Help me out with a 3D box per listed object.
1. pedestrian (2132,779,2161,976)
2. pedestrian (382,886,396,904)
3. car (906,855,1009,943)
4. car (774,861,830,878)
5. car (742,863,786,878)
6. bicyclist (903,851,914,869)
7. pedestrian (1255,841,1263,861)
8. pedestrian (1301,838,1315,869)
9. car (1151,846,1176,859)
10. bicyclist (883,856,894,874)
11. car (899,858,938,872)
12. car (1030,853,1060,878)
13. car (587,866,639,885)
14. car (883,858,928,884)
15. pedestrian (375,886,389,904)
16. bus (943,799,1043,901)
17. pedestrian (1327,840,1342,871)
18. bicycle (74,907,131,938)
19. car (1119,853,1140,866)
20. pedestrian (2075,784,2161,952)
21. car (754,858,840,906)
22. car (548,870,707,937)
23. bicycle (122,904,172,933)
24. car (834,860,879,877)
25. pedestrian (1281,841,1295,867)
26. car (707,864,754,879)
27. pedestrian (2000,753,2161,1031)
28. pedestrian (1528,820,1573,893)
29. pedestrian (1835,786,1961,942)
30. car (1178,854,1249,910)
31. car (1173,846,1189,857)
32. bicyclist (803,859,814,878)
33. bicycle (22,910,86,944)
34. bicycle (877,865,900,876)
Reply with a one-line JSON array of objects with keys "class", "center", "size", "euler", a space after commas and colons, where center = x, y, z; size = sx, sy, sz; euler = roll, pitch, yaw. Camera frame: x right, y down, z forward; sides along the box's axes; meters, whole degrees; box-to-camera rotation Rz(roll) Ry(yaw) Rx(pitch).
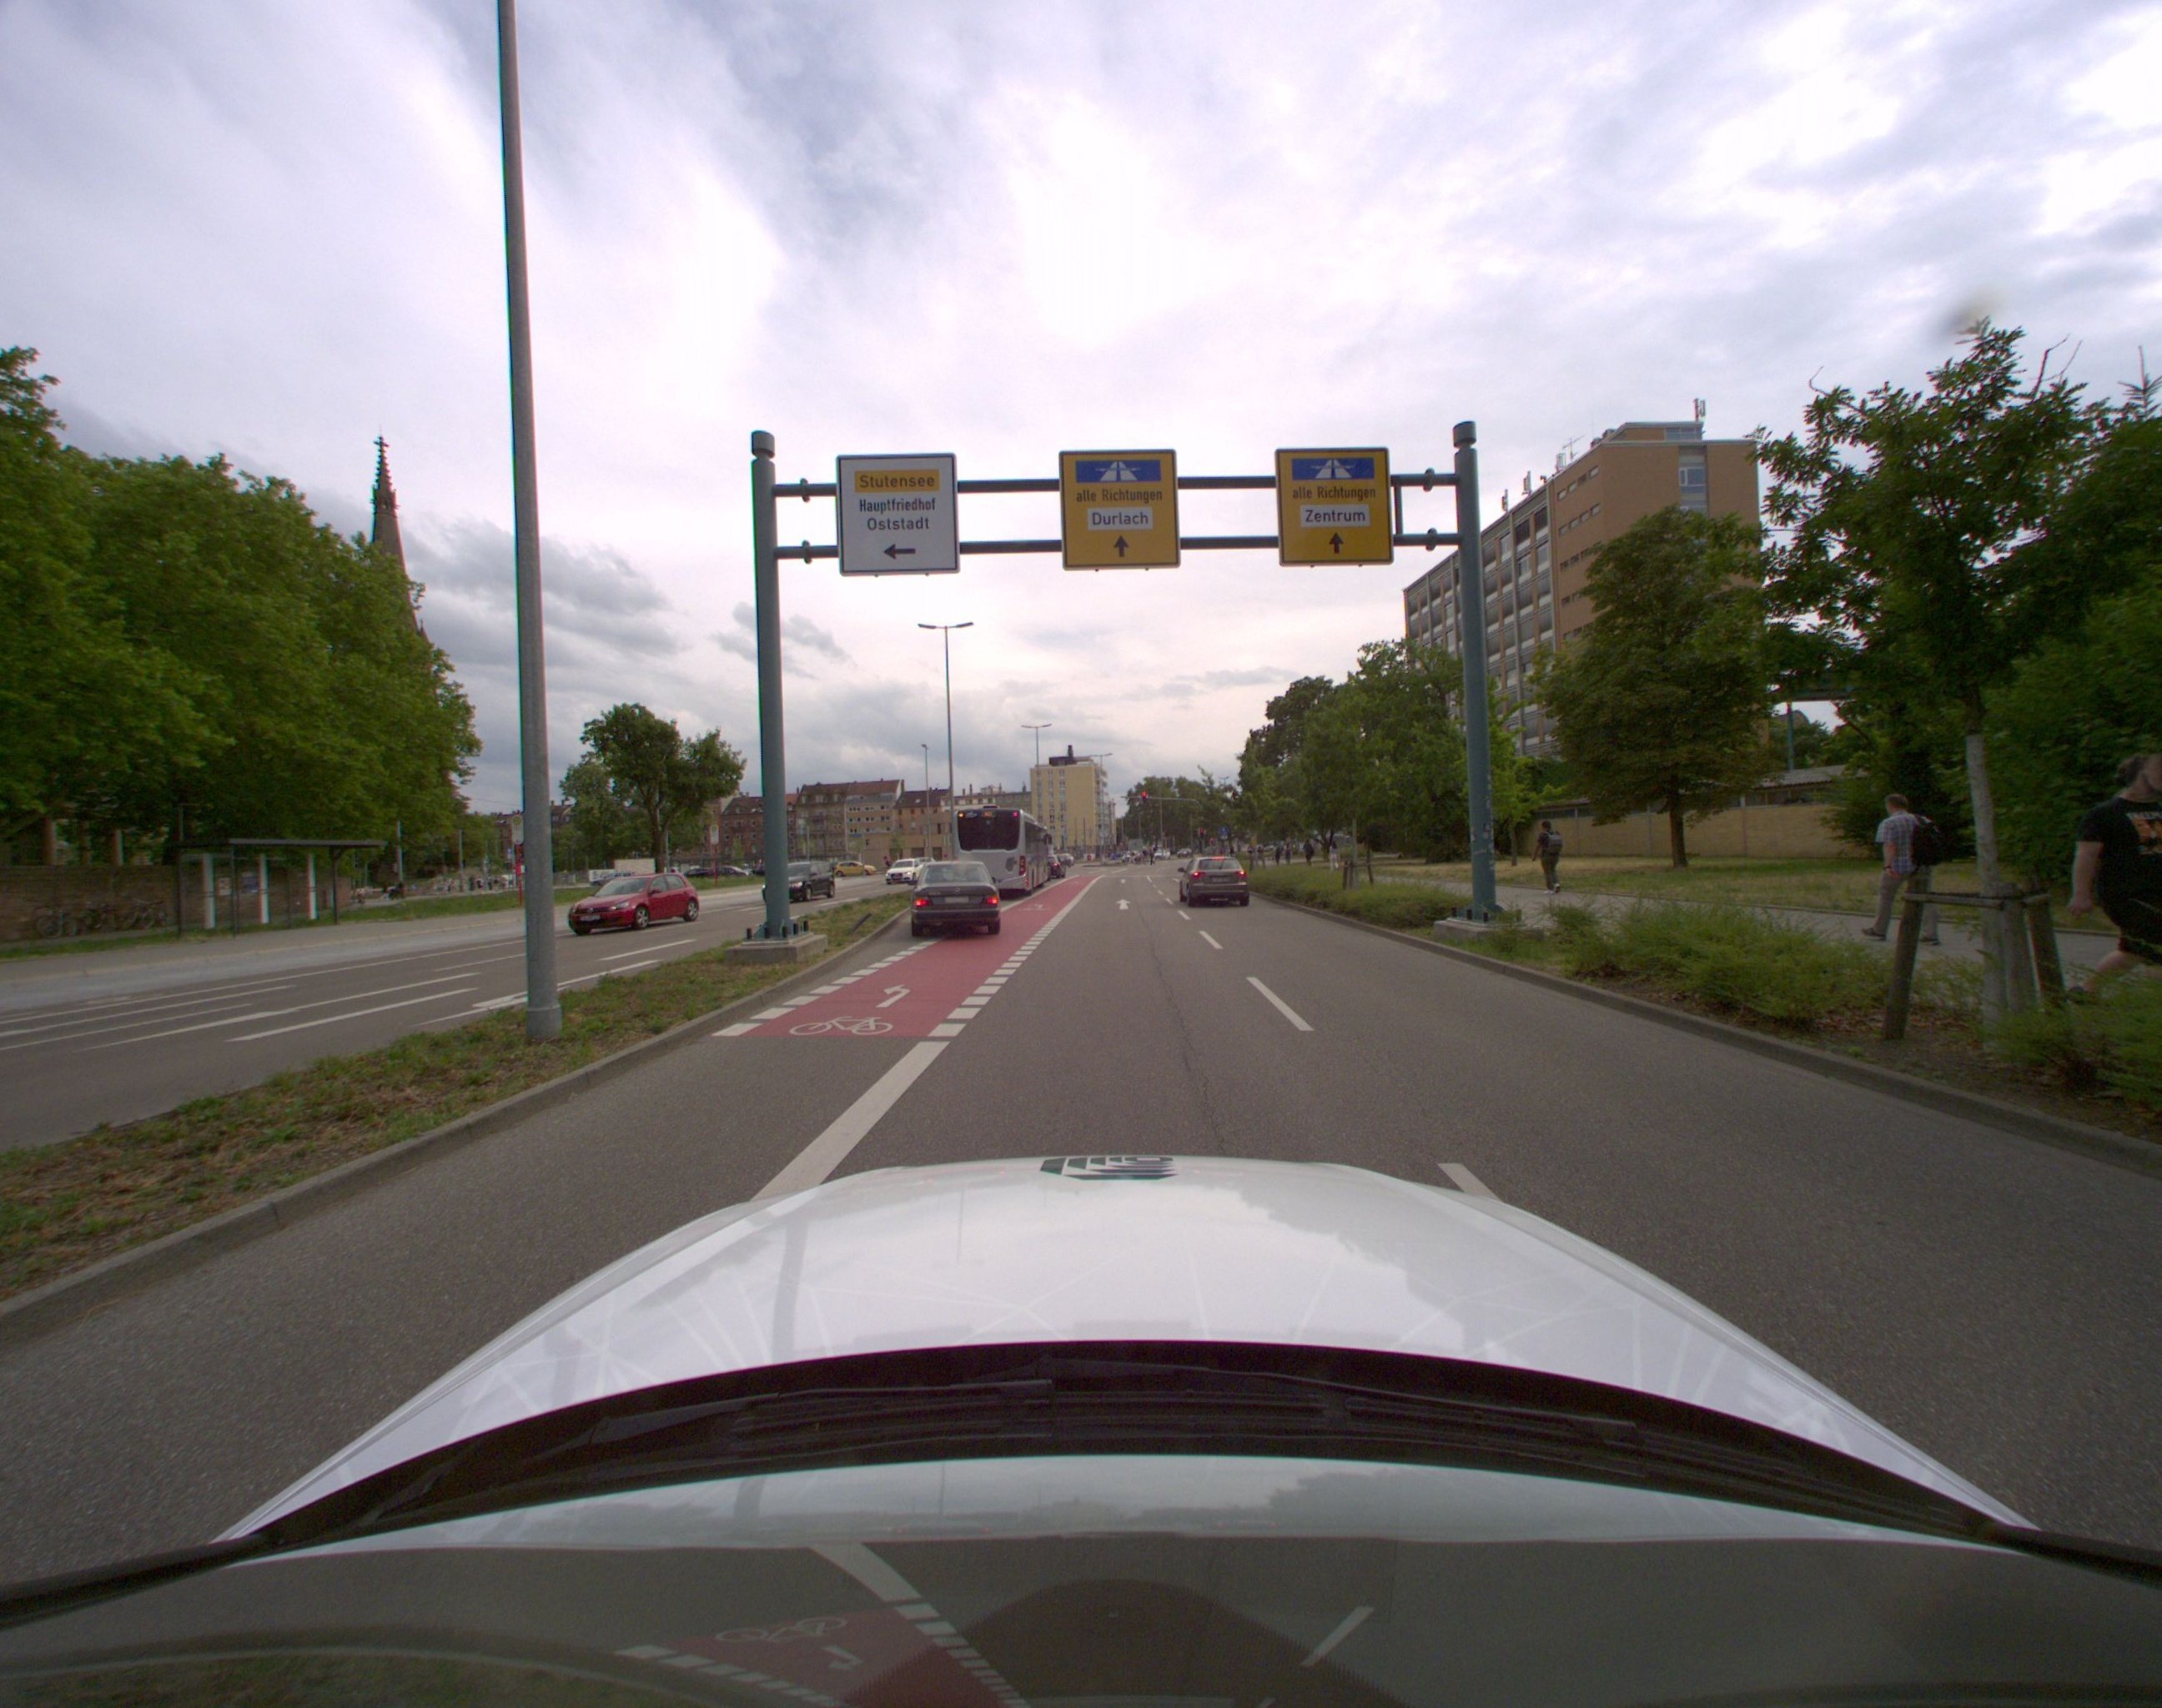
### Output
[{"class": "pedestrian", "center": [9.288, 0.188, 6.580], "size": [0.553, 1.655, 0.754], "euler": [-3, 0, 3]}, {"class": "pedestrian", "center": [-61.302, 3.648, 72.138], "size": [0.560, 1.560, 0.725], "euler": [-2, 0, -4]}, {"class": "car", "center": [-2.636, 0.796, 16.655], "size": [1.763, 1.489, 4.153], "euler": [-2, 0, -13]}, {"class": "car", "center": [-26.601, 1.482, 77.733], "size": [4.658, 1.475, 1.659], "euler": [-1, 0, -3]}, {"class": "car", "center": [-31.836, 1.669, 81.930], "size": [3.754, 1.394, 1.583], "euler": [-1, 0, -3]}, {"class": "bicyclist", "center": [-15.952, 0.528, 75.446], "size": [0.784, 1.643, 0.614], "euler": [-3, 0, -1]}, {"class": "pedestrian", "center": [18.278, -0.313, 83.487], "size": [0.612, 2.013, 0.597], "euler": [-2, 0, 1]}, {"class": "pedestrian", "center": [12.840, -0.010, 46.094], "size": [0.641, 1.713, 0.564], "euler": [-3, 0, 17]}, {"class": "car", "center": [14.673, -0.278, 144.656], "size": [2.559, 2.109, 5.634], "euler": [-2, 0, 26]}, {"class": "bicyclist", "center": [-17.917, 1.047, 75.715], "size": [0.784, 1.643, 0.572], "euler": [-3, 0, 0]}, {"class": "car", "center": [-16.817, 1.139, 84.412], "size": [3.690, 1.394, 1.571], "euler": [-1, 0, -25]}, {"class": "car", "center": [-2.231, 0.703, 50.783], "size": [1.650, 1.396, 3.859], "euler": [-2, 0, 0]}, {"class": "car", "center": [-47.166, 2.170, 82.177], "size": [4.146, 1.649, 1.645], "euler": [-3, 0, -4]}, {"class": "car", "center": [-10.731, 0.995, 49.966], "size": [1.664, 1.389, 3.925], "euler": [-3, 0, 3]}, {"class": "pedestrian", "center": [-62.274, 3.668, 72.526], "size": [0.560, 1.560, 0.725], "euler": [-2, 0, -4]}, {"class": "bus", "center": [-3.183, -0.180, 31.947], "size": [2.822, 3.390, 8.183], "euler": [-2, 0, 1]}, {"class": "pedestrian", "center": [12.538, 0.073, 40.296], "size": [0.651, 1.470, 0.564], "euler": [-3, 0, 19]}, {"class": "bicycle", "center": [-32.669, 2.267, 27.209], "size": [0.483, 0.907, 1.609], "euler": [0, -1, -22]}, {"class": "car", "center": [7.053, 0.837, 118.137], "size": [1.977, 1.703, 4.020], "euler": [-2, 0, 19]}, {"class": "pedestrian", "center": [10.714, 0.125, 8.234], "size": [0.466, 1.633, 0.653], "euler": [-3, 0, 3]}, {"class": "car", "center": [-11.635, 1.098, 33.694], "size": [1.795, 1.665, 4.302], "euler": [-4, 0, 2]}, {"class": "car", "center": [-12.298, 1.289, 22.459], "size": [1.795, 1.489, 4.291], "euler": [-2, 0, 2]}, {"class": "bicycle", "center": [-33.341, 2.284, 29.086], "size": [0.483, 0.907, 1.609], "euler": [0, -1, -22]}, {"class": "car", "center": [-21.494, 1.386, 78.139], "size": [3.847, 1.517, 1.659], "euler": [-1, 0, -3]}, {"class": "pedestrian", "center": [14.003, -0.022, 55.039], "size": [0.796, 1.713, 0.768], "euler": [-3, 0, 15]}, {"class": "car", "center": [-33.518, 1.655, 77.999], "size": [3.753, 1.394, 1.583], "euler": [-1, 0, -2]}, {"class": "pedestrian", "center": [7.369, 0.240, 5.719], "size": [0.925, 1.830, 0.892], "euler": [-3, 0, 29]}, {"class": "pedestrian", "center": [11.240, 0.057, 19.517], "size": [0.585, 1.682, 0.749], "euler": [-3, 0, 3]}, {"class": "pedestrian", "center": [9.640, 0.110, 9.637], "size": [0.616, 1.735, 0.815], "euler": [-3, 0, 3]}, {"class": "car", "center": [3.893, 0.779, 24.518], "size": [1.717, 1.457, 3.740], "euler": [-2, 0, 4]}, {"class": "car", "center": [19.036, -0.500, 154.767], "size": [1.790, 1.850, 4.023], "euler": [-3, 0, 23]}, {"class": "bicyclist", "center": [-25.148, 1.335, 75.265], "size": [0.784, 1.643, 0.572], "euler": [-3, 0, -3]}, {"class": "bicycle", "center": [-31.766, 2.246, 25.222], "size": [0.483, 0.907, 1.609], "euler": [0, -1, -22]}, {"class": "bicycle", "center": [-17.915, 1.542, 75.699], "size": [1.957, 0.982, 0.631], "euler": [-3, 0, 0]}]
